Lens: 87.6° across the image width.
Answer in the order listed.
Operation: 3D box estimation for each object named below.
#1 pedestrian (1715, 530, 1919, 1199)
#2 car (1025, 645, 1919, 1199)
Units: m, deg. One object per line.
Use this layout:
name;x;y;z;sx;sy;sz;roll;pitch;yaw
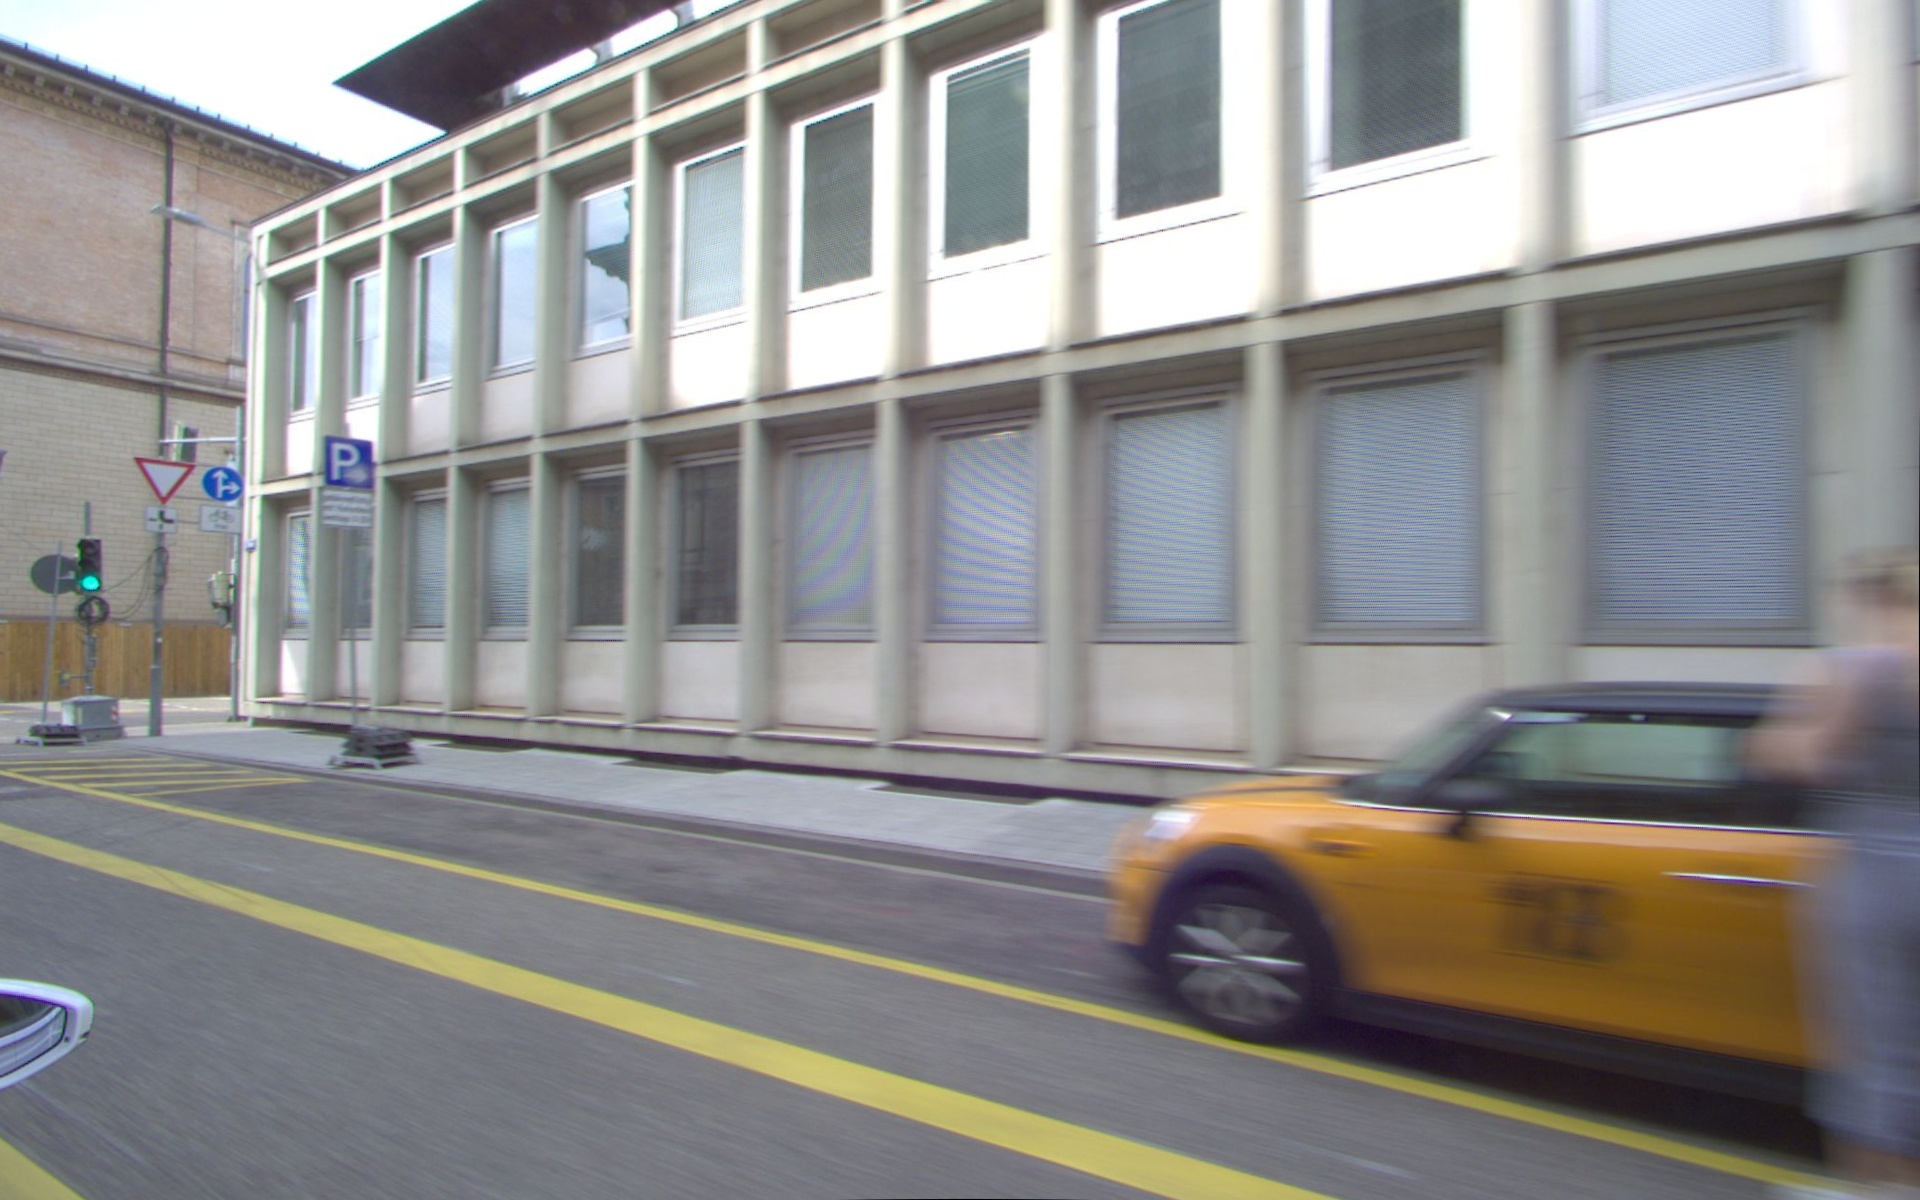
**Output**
pedestrian;2.488;0.740;2.632;0.695;1.786;0.697;-1;-2;30
car;2.367;1.023;4.002;3.832;1.451;1.679;1;-5;34
